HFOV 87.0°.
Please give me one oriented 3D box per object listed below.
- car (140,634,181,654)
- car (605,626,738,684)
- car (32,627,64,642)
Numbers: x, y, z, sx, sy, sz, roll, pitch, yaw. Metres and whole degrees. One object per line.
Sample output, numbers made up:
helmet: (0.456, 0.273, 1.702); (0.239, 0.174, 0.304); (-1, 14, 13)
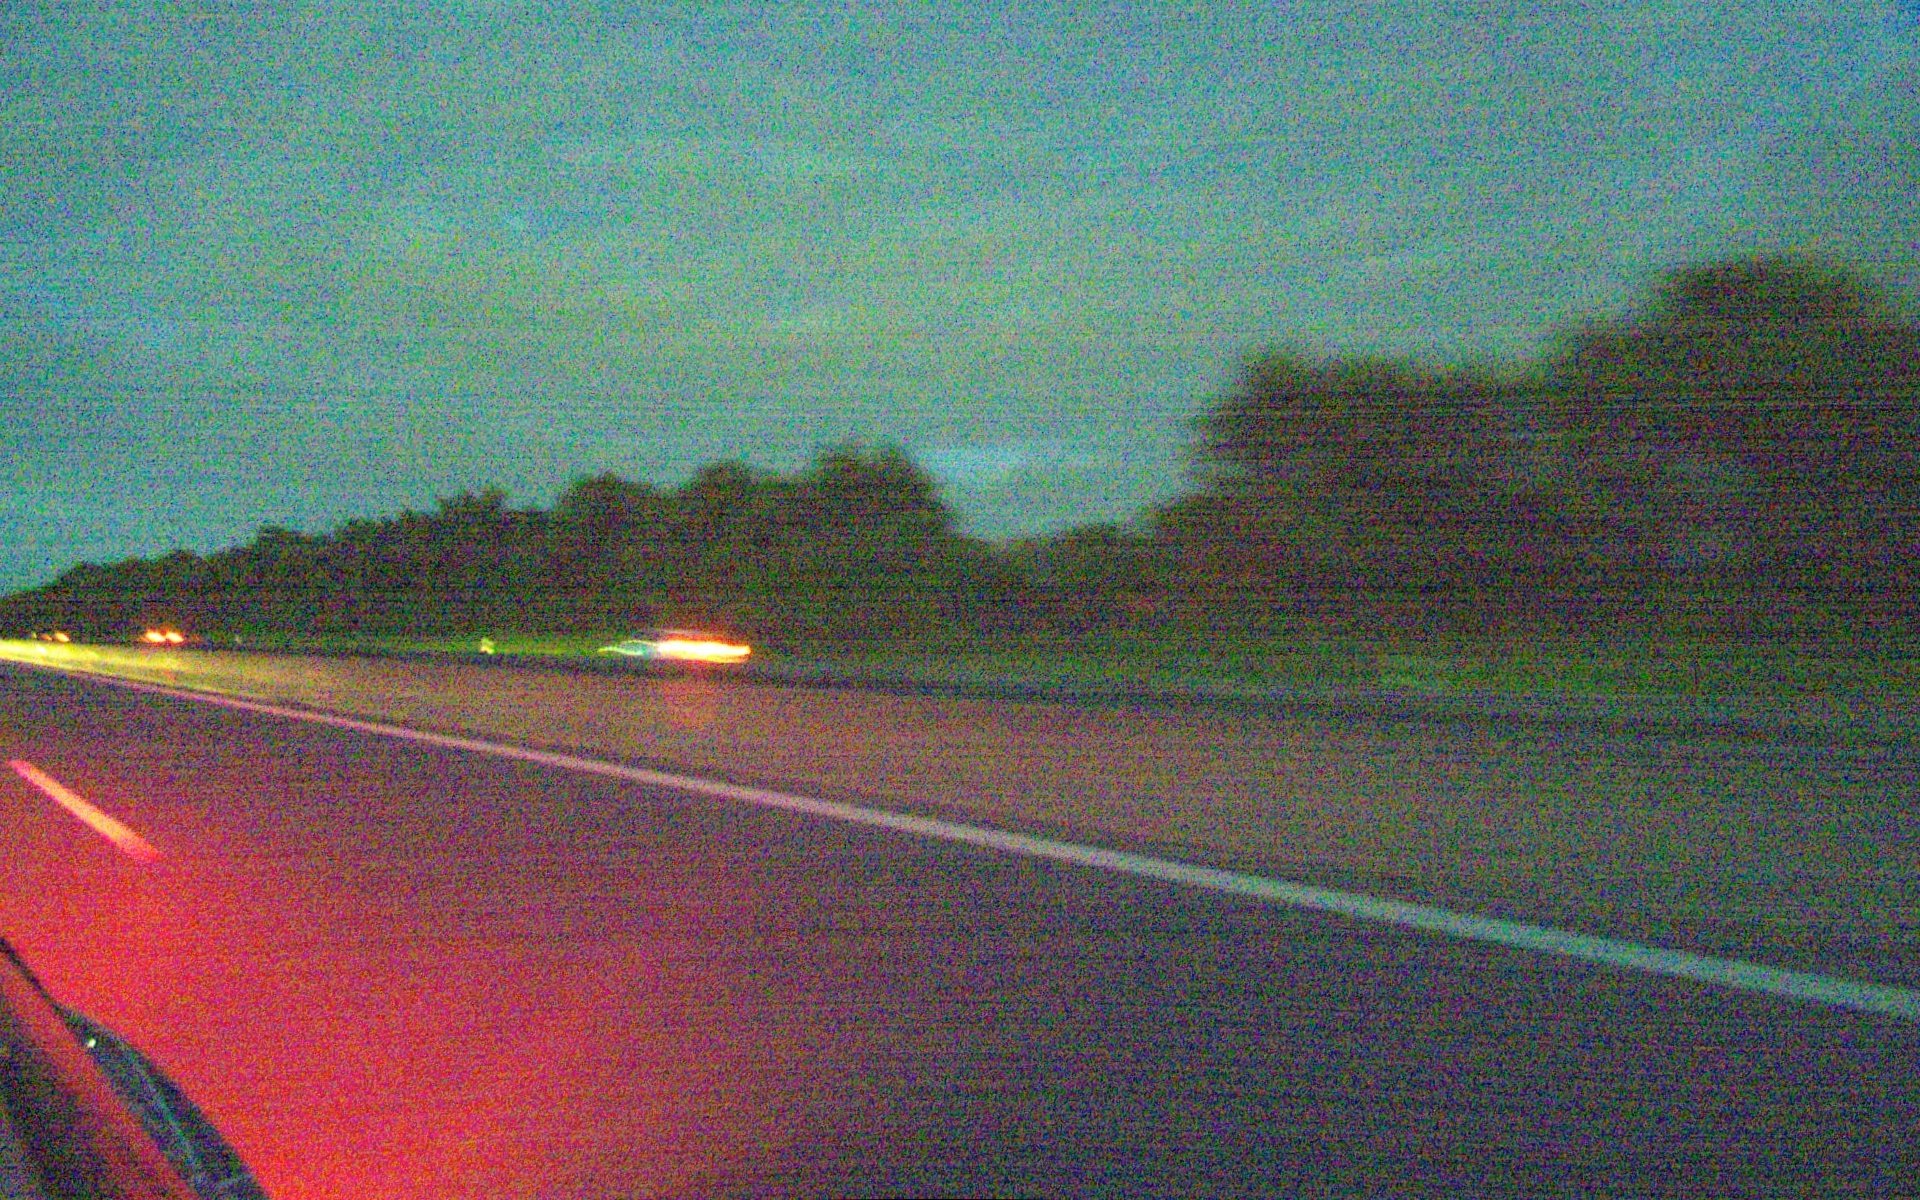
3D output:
car: (-66.653, 3.649, 84.367); (4.653, 1.633, 1.883); (-2, -2, 42)
car: (-9.805, 1.796, 34.147); (5.044, 1.646, 1.883); (0, 1, 42)
car: (-91.883, 3.462, 101.938); (4.653, 1.482, 1.883); (-2, -2, 42)
